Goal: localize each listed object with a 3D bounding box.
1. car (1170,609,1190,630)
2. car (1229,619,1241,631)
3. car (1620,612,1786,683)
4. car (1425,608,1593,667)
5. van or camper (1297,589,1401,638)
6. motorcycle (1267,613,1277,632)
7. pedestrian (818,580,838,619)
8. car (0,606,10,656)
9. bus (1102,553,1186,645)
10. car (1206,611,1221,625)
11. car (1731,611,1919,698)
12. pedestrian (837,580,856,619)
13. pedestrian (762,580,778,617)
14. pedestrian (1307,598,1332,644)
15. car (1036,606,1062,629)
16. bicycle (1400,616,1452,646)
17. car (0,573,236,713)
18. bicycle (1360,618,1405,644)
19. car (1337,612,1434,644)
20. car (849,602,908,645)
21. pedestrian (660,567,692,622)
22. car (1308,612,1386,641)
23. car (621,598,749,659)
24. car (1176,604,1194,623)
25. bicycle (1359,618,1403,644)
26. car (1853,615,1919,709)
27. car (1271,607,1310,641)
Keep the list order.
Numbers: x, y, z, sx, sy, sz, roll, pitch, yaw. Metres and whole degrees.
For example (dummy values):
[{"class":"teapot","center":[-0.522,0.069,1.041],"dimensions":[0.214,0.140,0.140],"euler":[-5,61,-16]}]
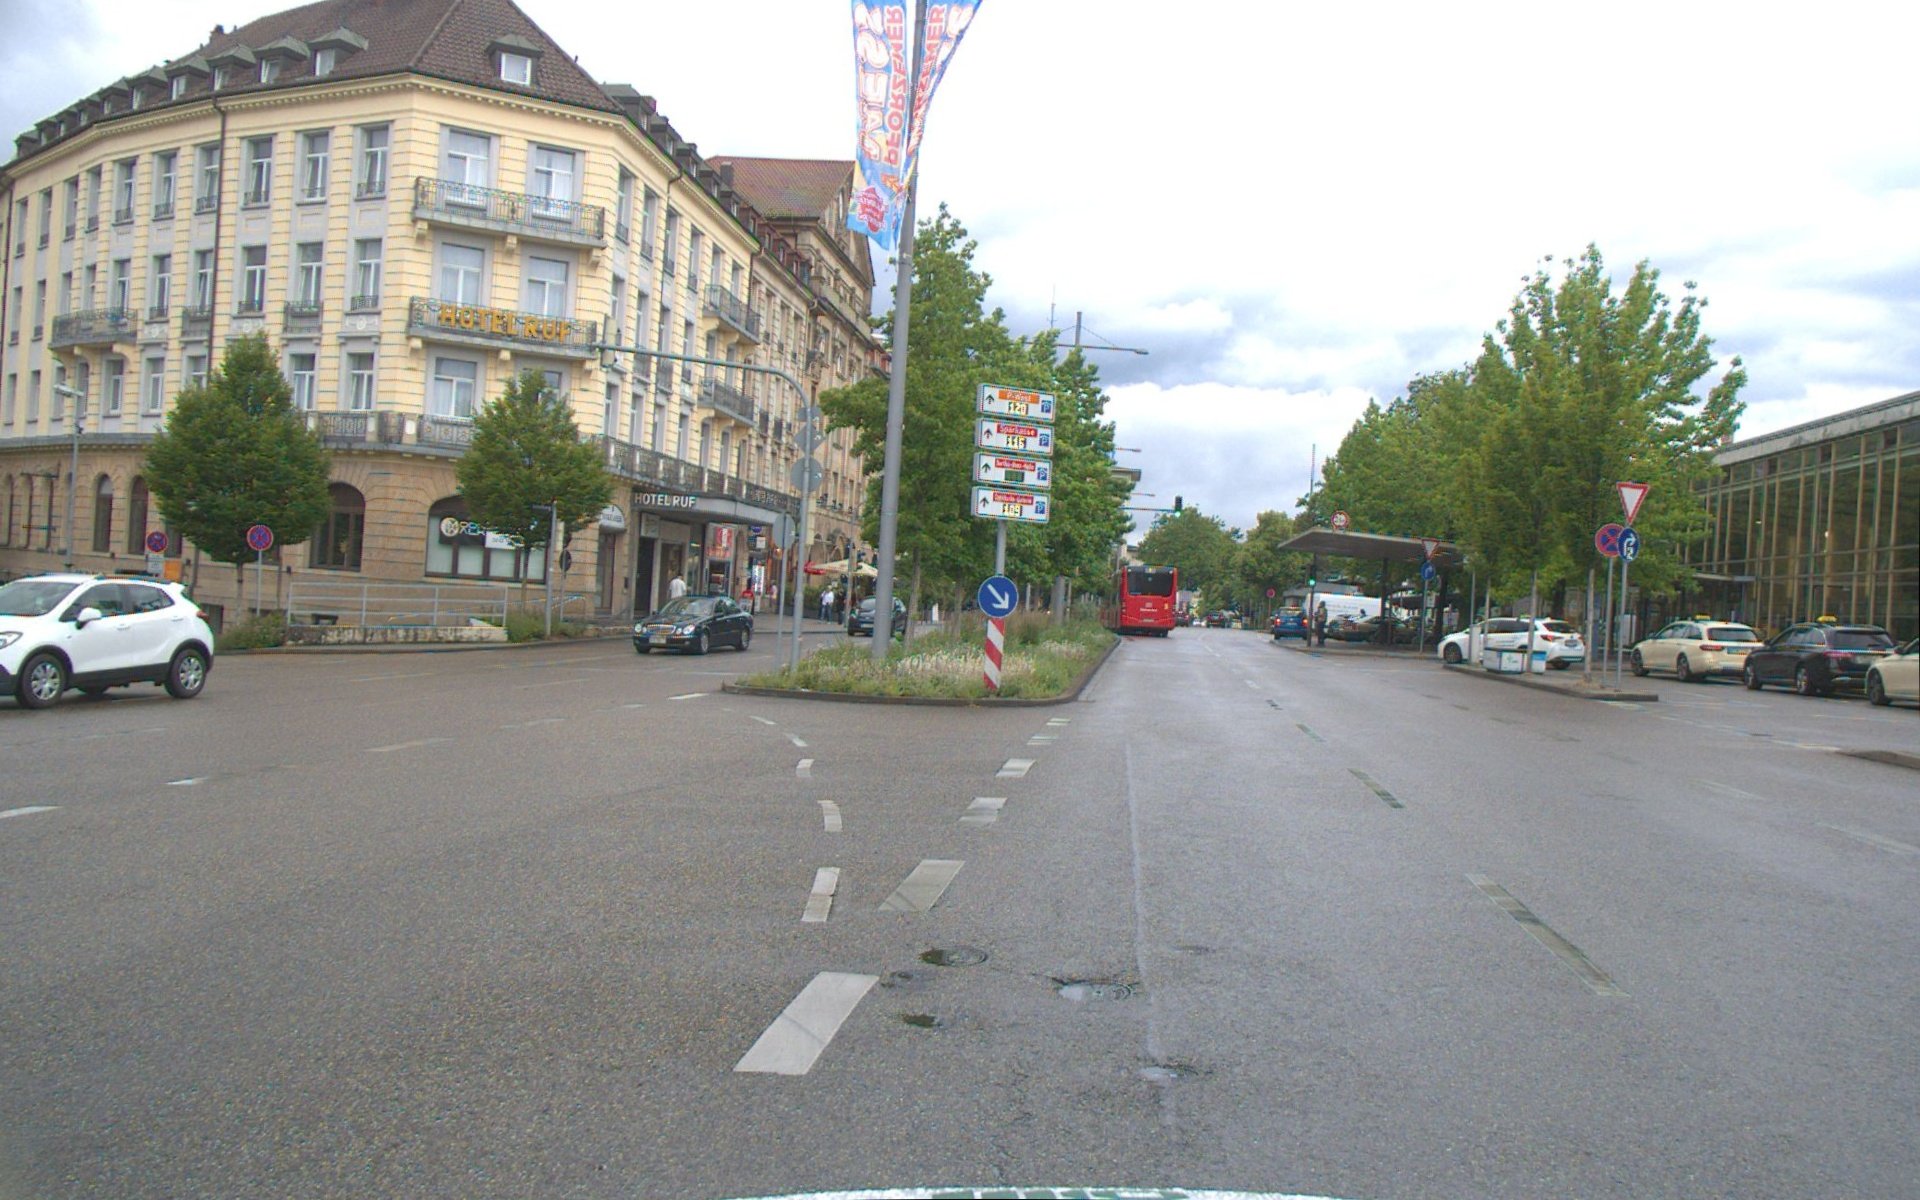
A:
[{"class":"car","center":[22.746,2.012,171.050],"dimensions":[1.951,2.049,4.003],"euler":[1,-1,7]},{"class":"car","center":[39.147,3.505,235.362],"dimensions":[1.610,1.690,3.653],"euler":[1,-1,7]},{"class":"car","center":[18.749,1.158,41.999],"dimensions":[1.953,1.627,4.957],"euler":[1,0,-1]},{"class":"car","center":[16.179,1.086,48.988],"dimensions":[1.741,1.573,4.725],"euler":[2,-1,-32]},{"class":"van or camper","center":[23.519,0.835,100.007],"dimensions":[5.858,2.811,2.186],"euler":[1,-1,-20]},{"class":"motorcycle","center":[22.096,1.595,117.213],"dimensions":[0.582,1.311,1.955],"euler":[1,0,13]},{"class":"pedestrian","center":[-5.780,-0.008,72.541],"dimensions":[0.667,1.693,0.808],"euler":[1,-1,10]},{"class":"car","center":[-30.725,0.900,50.628],"dimensions":[3.930,1.504,1.759],"euler":[0,-1,43]},{"class":"bus","center":[8.699,-0.006,79.494],"dimensions":[3.470,4.049,11.176],"euler":[1,-1,4]},{"class":"car","center":[27.844,1.974,181.569],"dimensions":[1.561,1.588,3.653],"euler":[1,-1,7]},{"class":"car","center":[18.509,1.106,35.560],"dimensions":[1.951,1.627,4.961],"euler":[3,0,6]},{"class":"pedestrian","center":[-4.961,-0.013,72.366],"dimensions":[0.667,1.693,0.807],"euler":[1,-1,7]},{"class":"pedestrian","center":[-8.704,-0.074,75.719],"dimensions":[0.653,1.693,0.536],"euler":[1,-1,-1]},{"class":"pedestrian","center":[14.125,0.809,64.957],"dimensions":[0.731,1.777,0.836],"euler":[2,-1,-1]},{"class":"car","center":[8.374,1.658,155.674],"dimensions":[1.951,2.049,5.005],"euler":[1,-1,9]},{"class":"bicycle","center":[17.106,1.123,60.678],"dimensions":[1.788,1.074,0.421],"euler":[1,-1,7]},{"class":"car","center":[-11.713,0.514,21.603],"dimensions":[1.914,1.646,4.211],"euler":[1,-1,15]},{"class":"bicycle","center":[17.679,1.285,69.183],"dimensions":[1.794,1.074,0.419],"euler":[1,-1,-11]},{"class":"car","center":[20.510,1.351,79.737],"dimensions":[4.112,1.348,1.834],"euler":[2,-1,-13]},{"class":"car","center":[-2.971,0.861,61.202],"dimensions":[1.641,1.539,3.865],"euler":[1,-1,5]},{"class":"pedestrian","center":[-9.669,-0.169,56.255],"dimensions":[0.860,1.844,0.751],"euler":[1,-1,7]},{"class":"car","center":[21.996,1.495,94.086],"dimensions":[3.927,1.468,1.854],"euler":[2,-1,-19]},{"class":"car","center":[-6.945,0.711,42.170],"dimensions":[1.914,1.447,4.003],"euler":[1,-1,11]},{"class":"car","center":[25.359,1.510,186.318],"dimensions":[1.951,2.049,4.003],"euler":[1,-1,7]},{"class":"bicycle","center":[17.720,1.290,69.661],"dimensions":[1.794,1.074,0.419],"euler":[1,-1,-11]},{"class":"car","center":[17.794,1.103,29.155],"dimensions":[1.951,1.627,4.962],"euler":[1,0,7]},{"class":"car","center":[16.658,1.217,83.373],"dimensions":[1.819,1.596,4.003],"euler":[2,-1,11]}]
